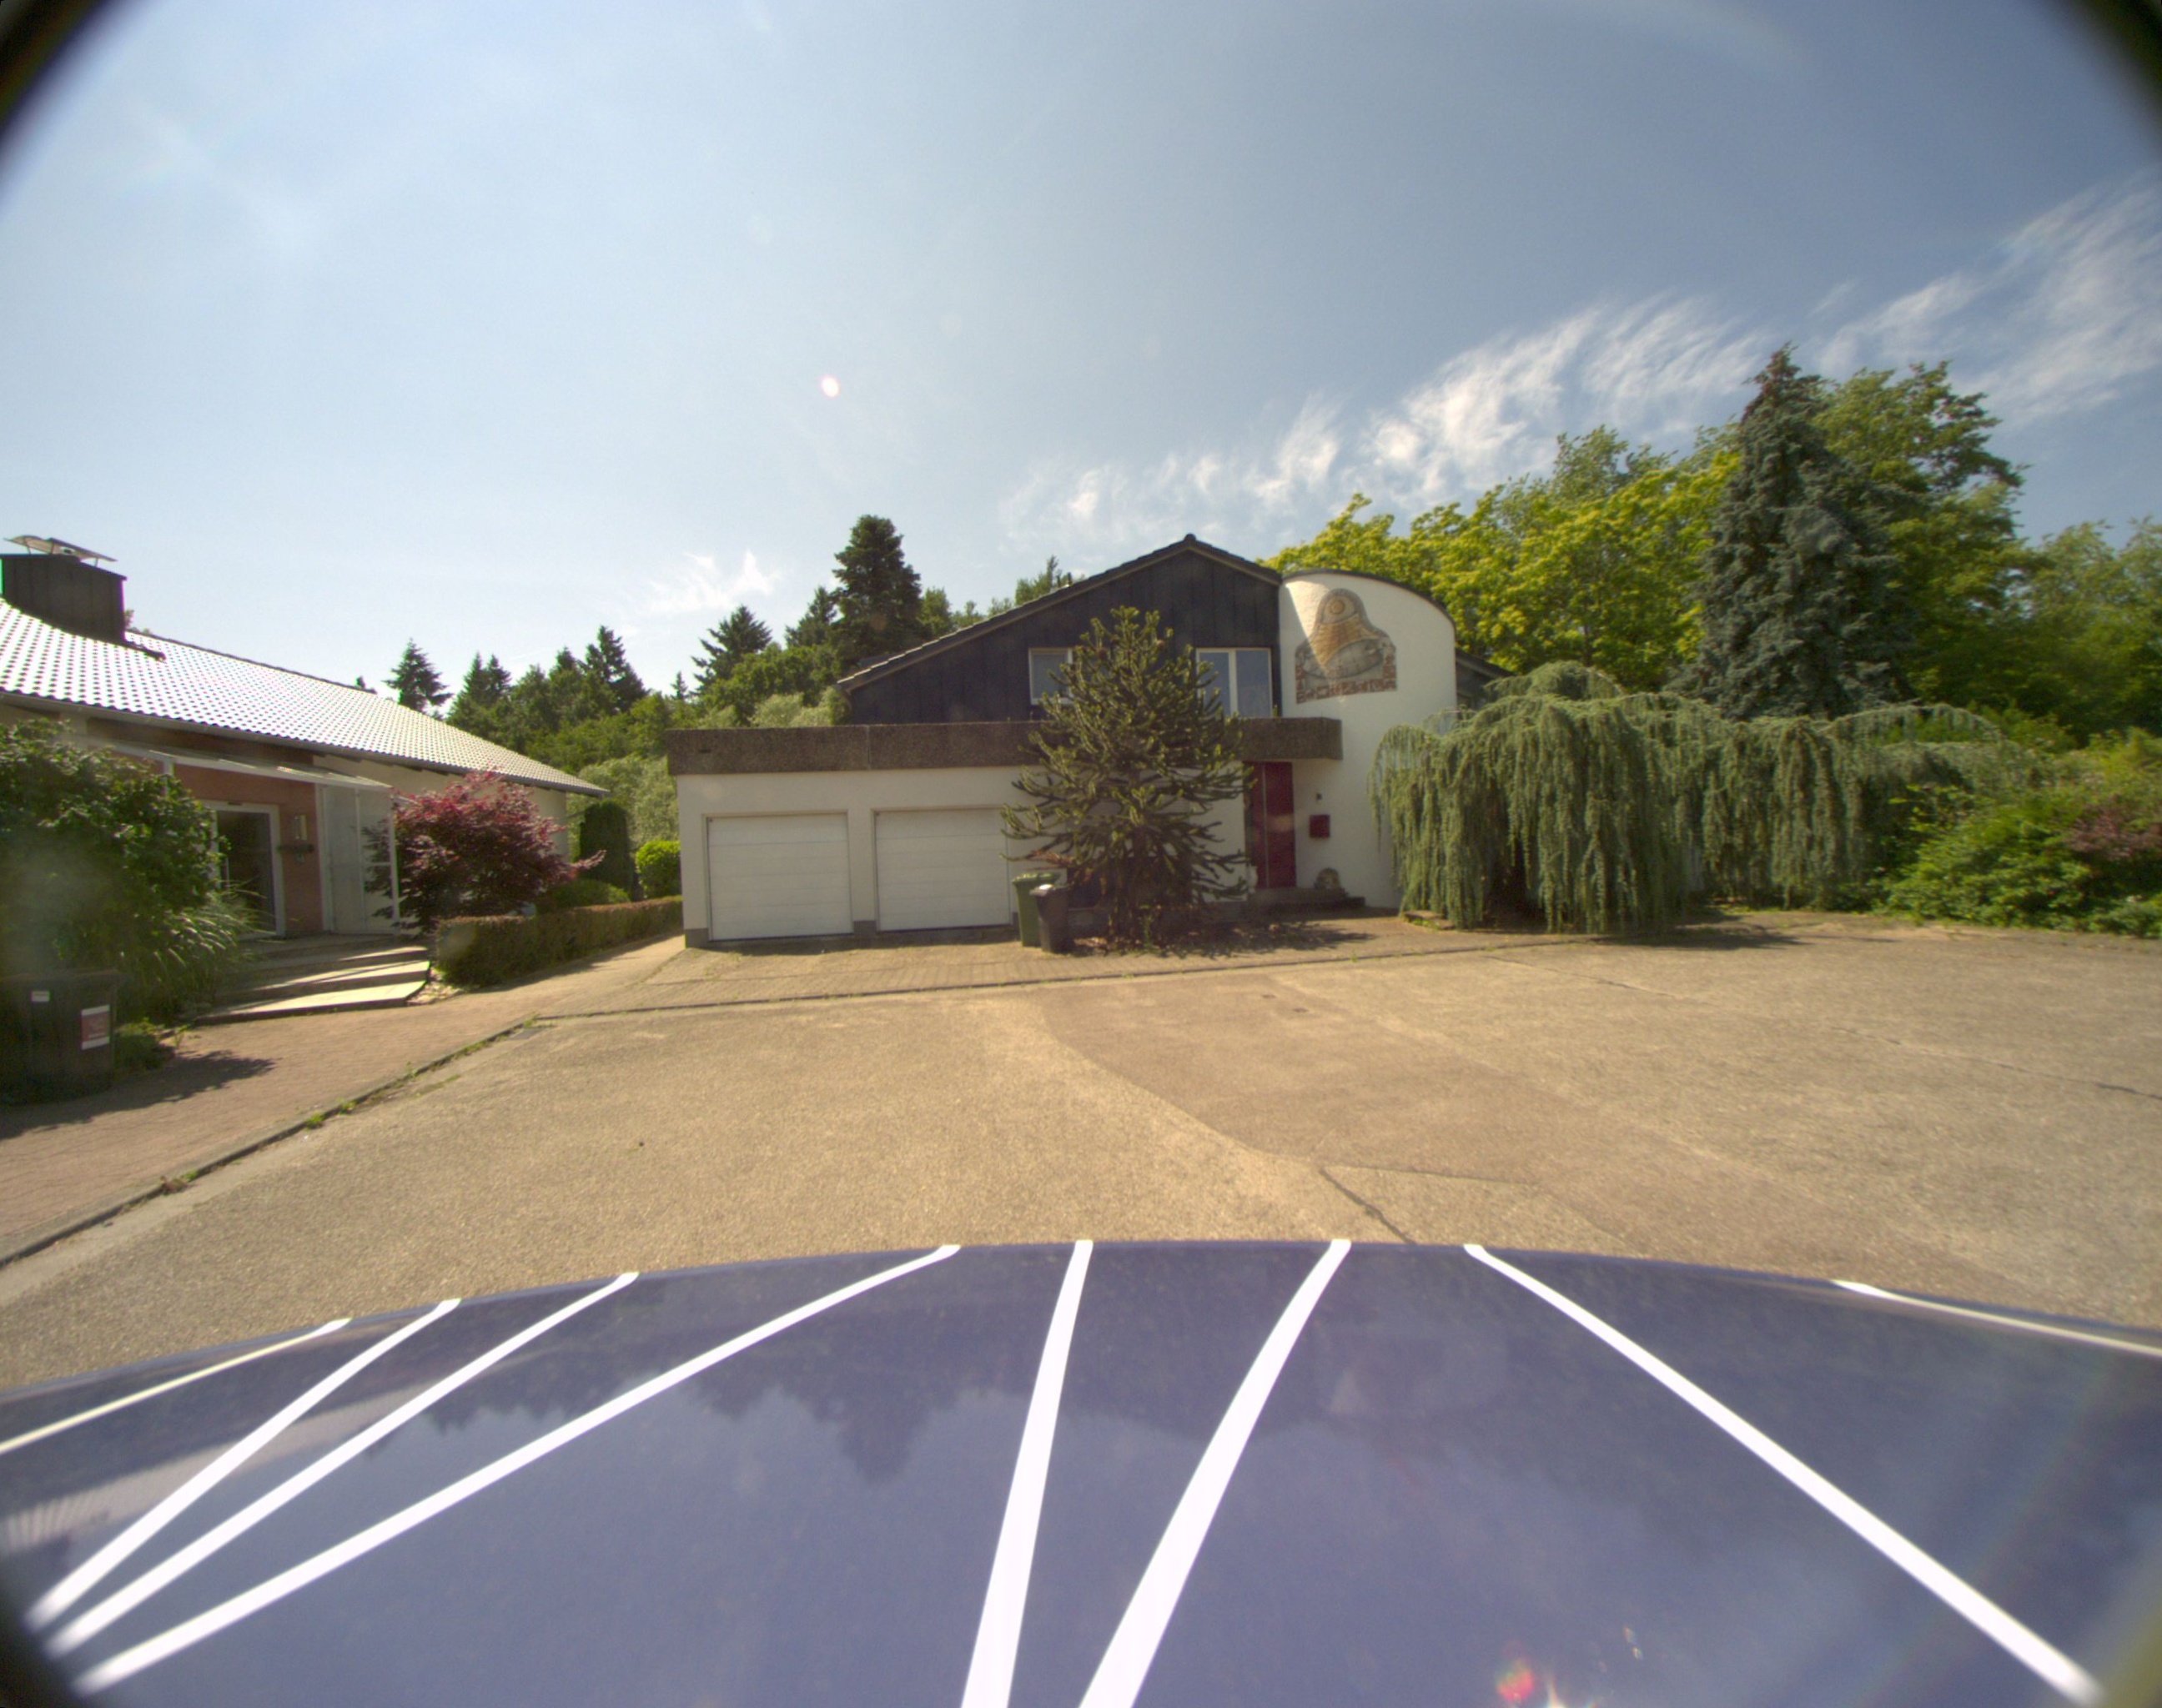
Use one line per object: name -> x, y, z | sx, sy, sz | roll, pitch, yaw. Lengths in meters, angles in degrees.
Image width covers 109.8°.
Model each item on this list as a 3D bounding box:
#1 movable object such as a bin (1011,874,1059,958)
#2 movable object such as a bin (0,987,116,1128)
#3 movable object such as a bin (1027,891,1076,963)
movable object such as a bin -> -0.701, 0.916, 11.412 | 0.634, 1.196, 0.551 | -2, 1, -7
movable object such as a bin -> -7.343, 1.433, 5.410 | 0.390, 0.886, 0.375 | -2, 2, -9
movable object such as a bin -> -0.421, 1.020, 10.708 | 0.525, 0.944, 0.388 | -3, 1, -34
